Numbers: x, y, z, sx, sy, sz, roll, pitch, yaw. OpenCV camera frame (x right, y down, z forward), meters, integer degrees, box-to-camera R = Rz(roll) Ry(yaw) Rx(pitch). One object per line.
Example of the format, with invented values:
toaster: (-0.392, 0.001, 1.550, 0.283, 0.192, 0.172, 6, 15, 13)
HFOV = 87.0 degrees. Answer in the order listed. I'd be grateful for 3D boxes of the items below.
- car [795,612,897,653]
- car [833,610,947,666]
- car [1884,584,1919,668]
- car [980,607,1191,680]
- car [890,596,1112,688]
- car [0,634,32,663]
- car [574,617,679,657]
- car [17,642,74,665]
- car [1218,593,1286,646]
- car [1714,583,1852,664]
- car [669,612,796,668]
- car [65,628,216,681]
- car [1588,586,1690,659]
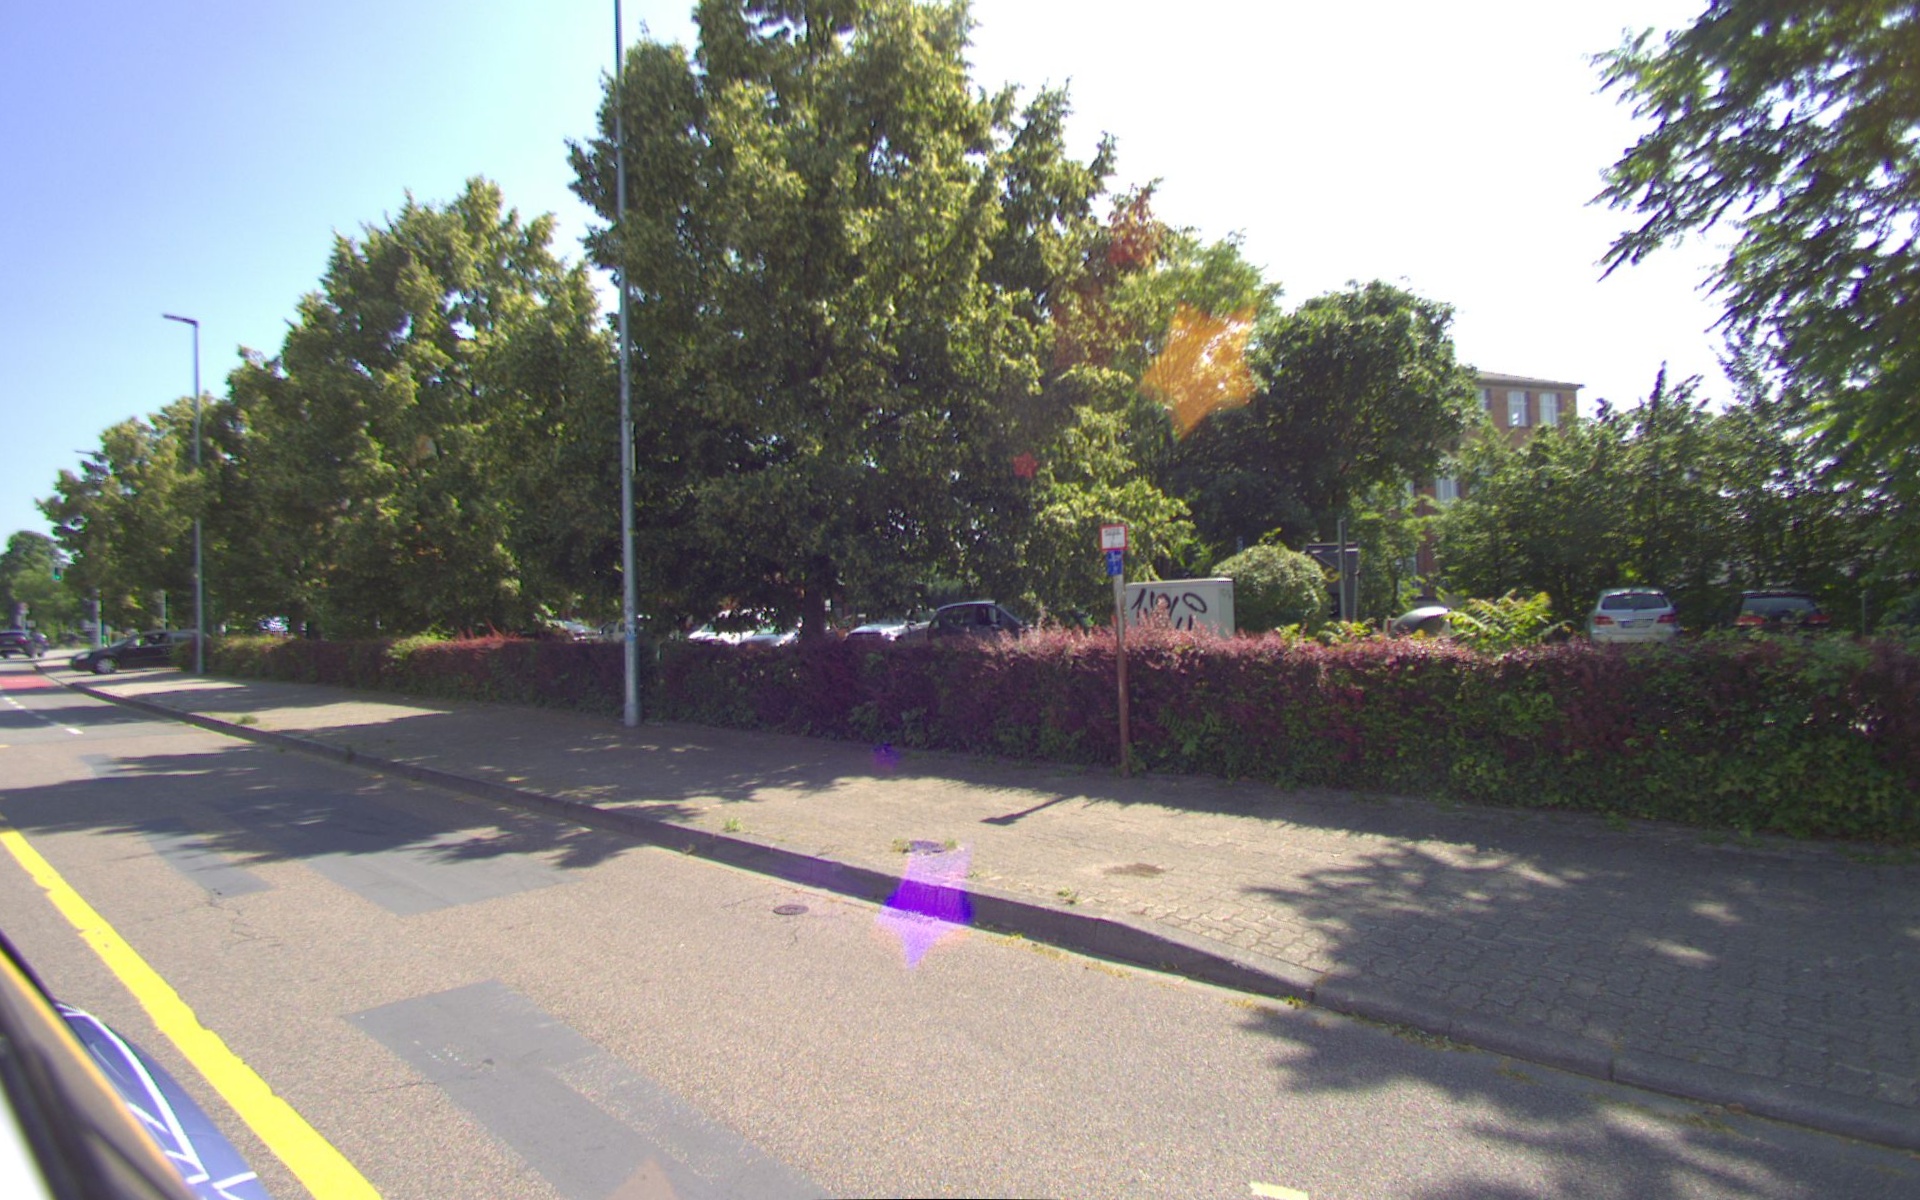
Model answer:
car: (-5.219, 1.493, 46.328, 4.347, 1.698, 1.845, -2, 1, 28)
car: (-2.194, 1.190, 32.883, 1.851, 1.698, 4.331, -2, -1, 24)
car: (17.886, 0.440, 17.692, 1.698, 1.464, 3.959, -3, 0, 30)
car: (2.717, 0.959, 22.465, 4.363, 1.464, 1.837, -2, -3, 40)
car: (0.767, 0.869, 20.868, 4.363, 1.699, 1.837, -2, -3, 40)
car: (-56.200, 2.849, 59.680, 1.969, 1.657, 4.535, 1, -2, -41)
car: (-14.273, 1.589, 43.278, 4.120, 1.564, 1.904, -2, -1, 26)
car: (-68.374, 3.978, 75.649, 4.512, 1.657, 1.979, -2, -2, 31)
car: (10.975, 0.705, 37.896, 1.764, 1.747, 3.967, -5, -1, 24)
car: (17.606, 0.460, 21.837, 1.769, 1.481, 3.956, -3, 0, 32)
car: (-7.428, 1.278, 33.440, 1.852, 1.698, 4.275, -2, -1, 25)
car: (-28.682, 1.861, 35.484, 3.941, 1.475, 1.882, -4, 1, -44)
car: (16.417, 0.501, 24.625, 1.768, 1.584, 3.958, -3, 0, 31)
